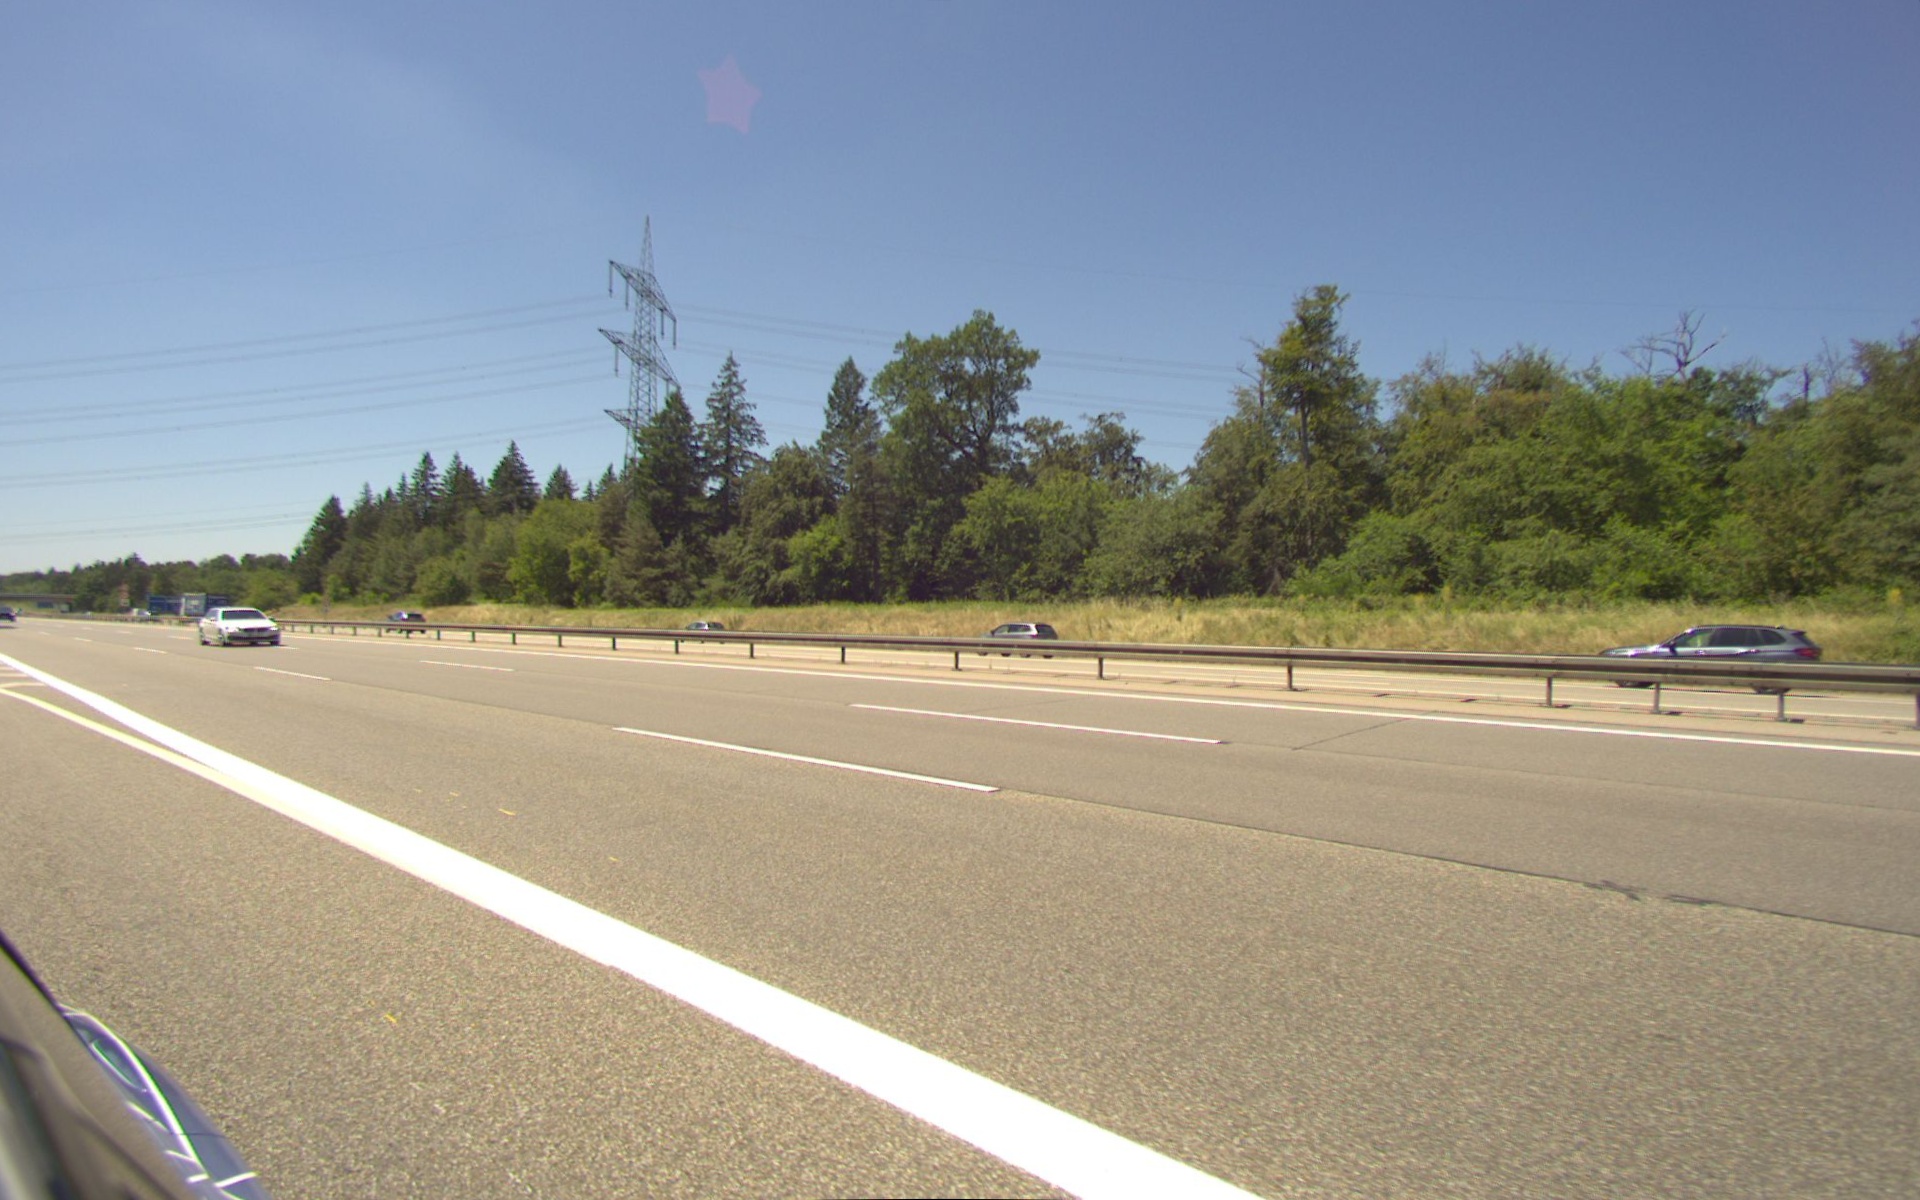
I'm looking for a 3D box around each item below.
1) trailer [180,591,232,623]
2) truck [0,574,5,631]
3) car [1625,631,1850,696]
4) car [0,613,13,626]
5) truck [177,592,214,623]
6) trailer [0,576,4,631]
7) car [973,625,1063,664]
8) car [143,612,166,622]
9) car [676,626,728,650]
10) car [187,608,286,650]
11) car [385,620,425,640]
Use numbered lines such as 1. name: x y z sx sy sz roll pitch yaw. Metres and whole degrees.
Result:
1. trailer: -104.238 1.005 139.813 13.983 4.204 3.168 -1 -3 43
2. truck: -73.557 0.206 75.670 2.938 4.174 5.352 1 -2 -45
3. car: 19.961 1.576 26.118 4.437 1.431 1.769 -1 0 44
4. car: -109.068 2.204 115.110 1.872 1.436 4.264 -1 0 -45
5. truck: -108.844 1.082 144.116 5.722 4.204 3.168 -1 -3 43
6. trailer: -77.743 0.348 79.919 2.940 4.174 11.702 1 -2 -45
7. car: 2.556 1.956 45.352 1.540 1.539 4.003 -1 0 -44
8. car: -113.046 2.418 142.020 4.432 1.413 1.742 -1 -3 42
9. car: -16.683 2.406 65.272 3.567 1.488 1.603 -1 -1 44
10. car: -27.970 1.073 39.058 5.403 1.515 1.943 0 0 42
11. car: -39.980 2.132 72.863 3.567 1.366 1.546 -1 -1 44
